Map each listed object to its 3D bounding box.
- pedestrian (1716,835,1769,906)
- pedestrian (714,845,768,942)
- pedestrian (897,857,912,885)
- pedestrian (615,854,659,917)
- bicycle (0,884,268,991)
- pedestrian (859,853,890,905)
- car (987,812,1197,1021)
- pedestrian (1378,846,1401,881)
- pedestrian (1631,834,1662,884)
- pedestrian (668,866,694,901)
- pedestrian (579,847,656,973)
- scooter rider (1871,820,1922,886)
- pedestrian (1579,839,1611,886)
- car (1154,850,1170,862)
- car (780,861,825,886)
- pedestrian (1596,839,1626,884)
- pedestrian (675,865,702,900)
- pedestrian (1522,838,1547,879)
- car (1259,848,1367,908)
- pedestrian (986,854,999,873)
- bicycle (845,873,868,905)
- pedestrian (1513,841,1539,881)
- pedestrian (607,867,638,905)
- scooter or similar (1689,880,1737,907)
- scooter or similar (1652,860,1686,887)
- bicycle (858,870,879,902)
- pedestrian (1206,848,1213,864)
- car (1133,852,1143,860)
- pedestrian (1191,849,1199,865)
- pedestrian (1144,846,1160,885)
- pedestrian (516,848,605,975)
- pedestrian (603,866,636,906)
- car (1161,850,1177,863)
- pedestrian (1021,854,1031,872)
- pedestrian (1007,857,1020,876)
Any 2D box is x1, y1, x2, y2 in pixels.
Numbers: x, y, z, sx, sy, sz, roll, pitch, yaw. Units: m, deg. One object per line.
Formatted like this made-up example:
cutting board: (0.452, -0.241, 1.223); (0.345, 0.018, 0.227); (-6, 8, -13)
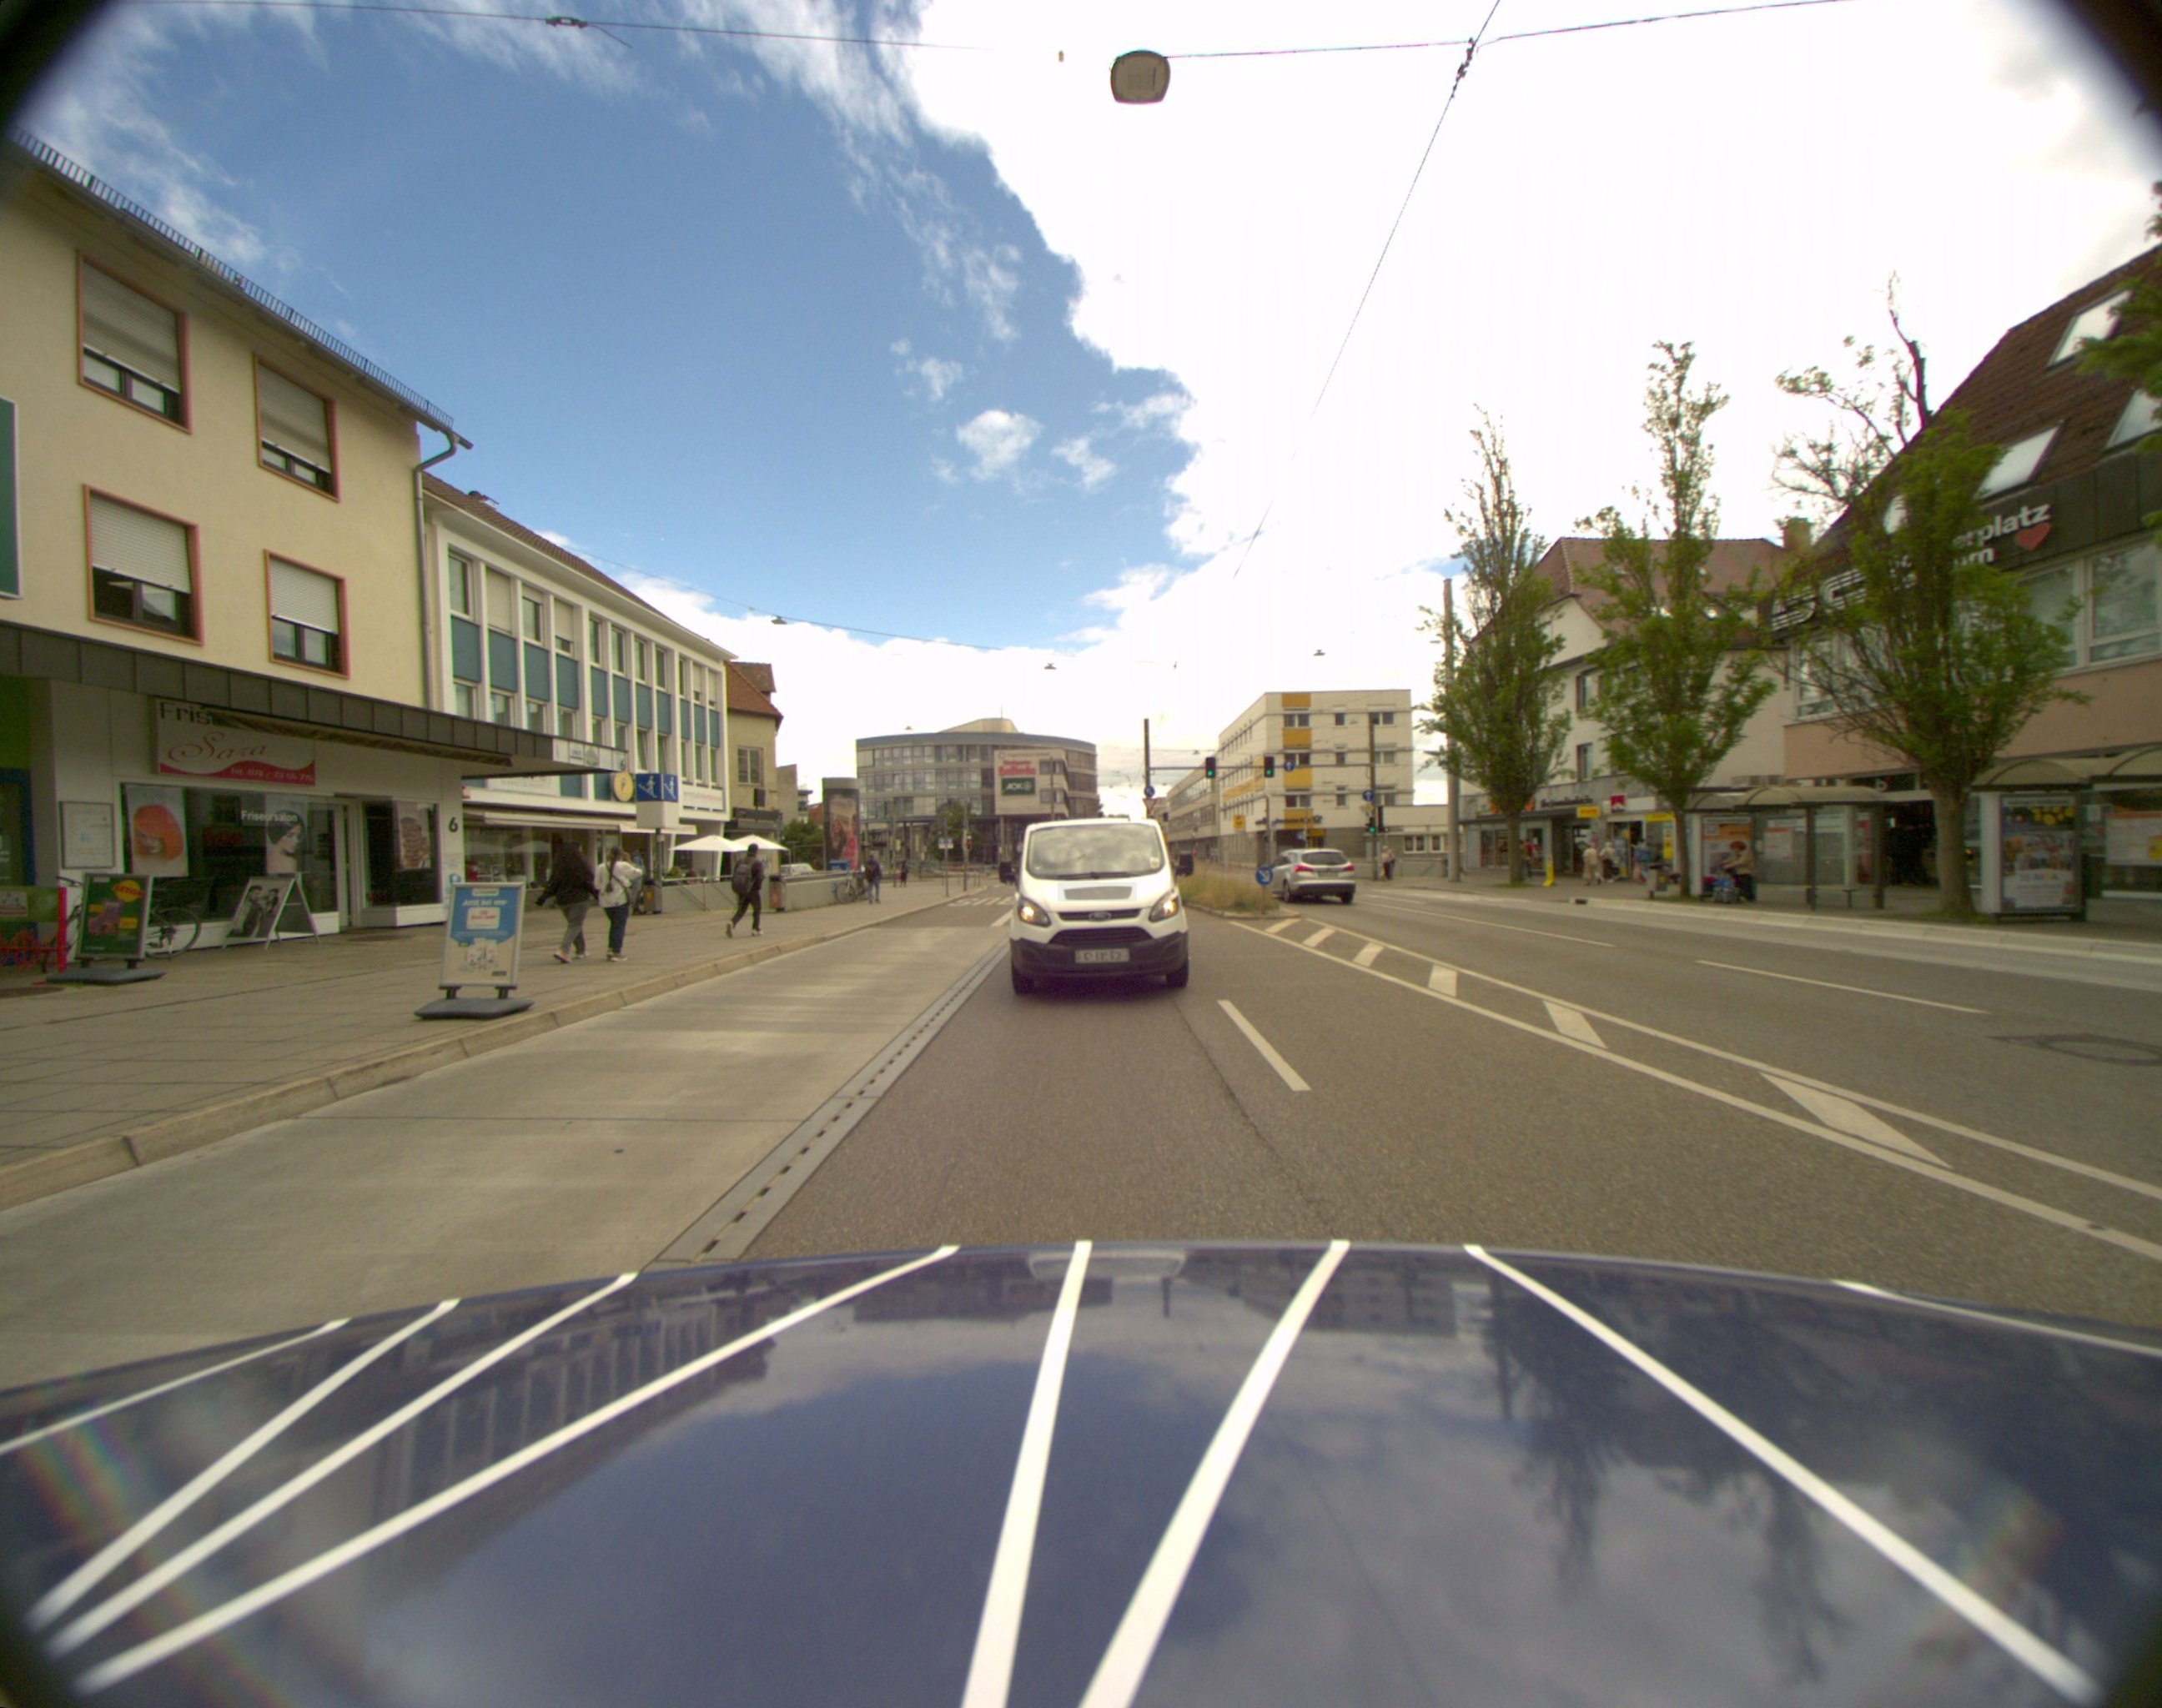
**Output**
pedestrian: (15.974, 0.394, 18.349); (0.588, 1.642, 0.713); (-2, 0, -17)
pedestrian: (-5.953, 0.678, 13.329); (0.613, 1.668, 0.615); (-1, 0, 3)
pedestrian: (-10.477, 1.016, 45.107); (0.589, 1.613, 0.743); (-5, 0, -30)
pedestrian: (-11.820, 0.832, 20.259); (0.668, 1.625, 0.800); (-1, 0, -1)
bicycle: (-11.684, 0.951, 9.397); (0.743, 1.056, 2.351); (0, 0, -1)
pedestrian: (-6.566, 0.776, 24.205); (0.689, 1.625, 0.853); (-1, 0, 0)
car: (0.284, 0.627, 9.986); (1.998, 2.002, 5.000); (-2, 0, 4)
pedestrian: (14.877, 0.449, 36.642); (0.702, 1.625, 0.614); (-4, 0, -10)
pedestrian: (19.443, 0.170, 26.151); (0.587, 1.702, 0.615); (-1, 1, -1)
pedestrian: (-14.312, 1.044, 27.169); (0.614, 1.213, 0.588); (0, 0, -1)
pedestrian: (-6.165, 0.722, 10.131); (0.614, 1.625, 0.615); (-1, 1, -2)
scooter rider: (21.752, -0.031, 20.271); (0.614, 1.702, 0.588); (-4, 0, -2)
pedestrian: (18.194, 0.304, 26.908); (0.587, 1.625, 0.615); (-4, 0, -1)
car: (13.834, 0.353, 129.712); (1.999, 2.002, 4.486); (-2, 0, -1)
car: (-22.347, 1.558, 60.877); (1.884, 1.884, 4.915); (-3, 1, -38)
pedestrian: (19.768, 0.281, 28.358); (0.587, 1.625, 0.615); (-4, 0, -1)
pedestrian: (-14.351, 1.044, 27.799); (0.614, 1.213, 0.588); (-4, 0, -1)
pedestrian: (19.326, 0.179, 32.409); (0.587, 1.702, 0.615); (-4, 0, -1)
car: (6.427, 0.595, 21.571); (1.879, 1.497, 4.343); (0, 1, 2)
pedestrian: (-7.951, 0.893, 68.326); (0.847, 1.625, 0.644); (-5, 0, -32)
bicycle: (-7.339, 1.128, 24.876); (0.274, 0.968, 1.387); (-1, 0, 2)
pedestrian: (18.383, 0.295, 31.409); (0.587, 1.625, 0.615); (-4, 0, -1)
pedestrian: (-15.087, 1.054, 25.021); (0.614, 1.213, 0.588); (-2, 0, -1)
scooter or similar: (15.373, 0.947, 18.493); (0.593, 0.598, 0.702); (-2, 0, 0)
scooter or similar: (19.802, 0.650, 25.583); (0.593, 0.843, 0.702); (-2, 0, 0)
bicycle: (-7.360, 1.089, 26.369); (0.274, 1.047, 1.387); (-1, 0, 2)
pedestrian: (15.160, 0.206, 89.723); (0.587, 1.792, 0.526); (-4, 0, 1)
car: (12.302, 0.436, 164.730); (2.074, 1.728, 4.693); (0, 0, 2)
pedestrian: (12.481, 0.339, 83.247); (0.587, 1.792, 0.526); (-4, 0, 1)
pedestrian: (2.963, 0.481, 31.744); (0.504, 1.625, 0.663); (-1, 0, -5)
pedestrian: (-6.883, 0.732, 10.080); (0.720, 1.625, 0.615); (-1, 1, -2)
pedestrian: (-14.771, 1.021, 24.311); (0.614, 1.213, 0.588); (-4, 0, -1)
car: (14.252, 0.349, 123.516); (1.999, 2.002, 4.486); (-2, 0, -1)
pedestrian: (-5.083, 0.824, 70.081); (0.589, 1.625, 0.525); (-5, 0, -44)
pedestrian: (-6.001, 1.142, 67.281); (0.808, 1.637, 0.886); (-2, 1, -33)
